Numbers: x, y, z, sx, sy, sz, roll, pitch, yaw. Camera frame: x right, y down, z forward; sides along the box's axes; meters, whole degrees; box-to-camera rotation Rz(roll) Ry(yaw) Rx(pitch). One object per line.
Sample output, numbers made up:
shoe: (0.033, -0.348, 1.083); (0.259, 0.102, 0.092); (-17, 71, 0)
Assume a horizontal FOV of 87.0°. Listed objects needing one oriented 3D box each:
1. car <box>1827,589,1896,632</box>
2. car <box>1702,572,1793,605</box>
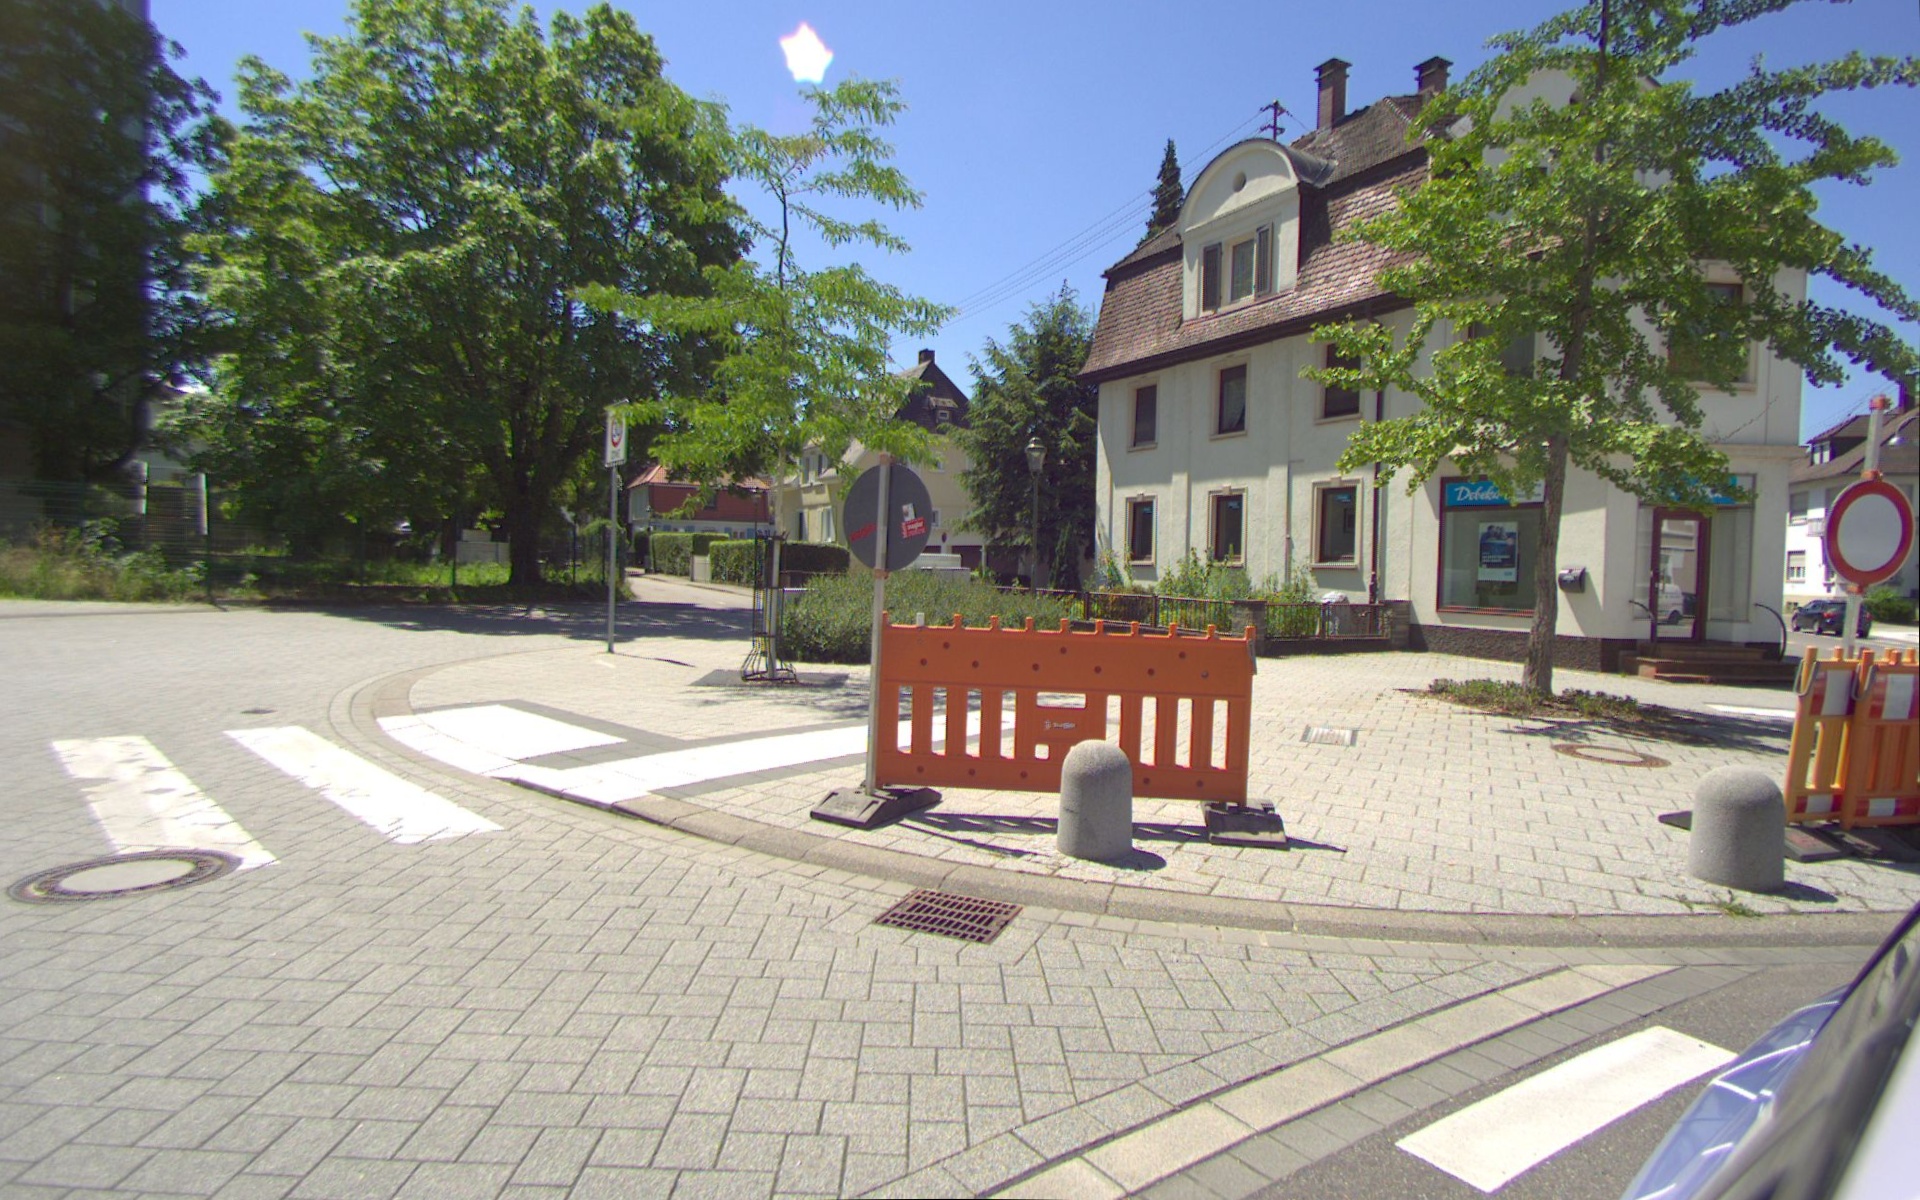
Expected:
car: (35.817, 0.371, 40.299); (1.657, 1.469, 3.969); (5, 4, 37)
car: (52.713, -0.797, 67.789); (4.300, 1.900, 1.844); (4, 2, 13)
